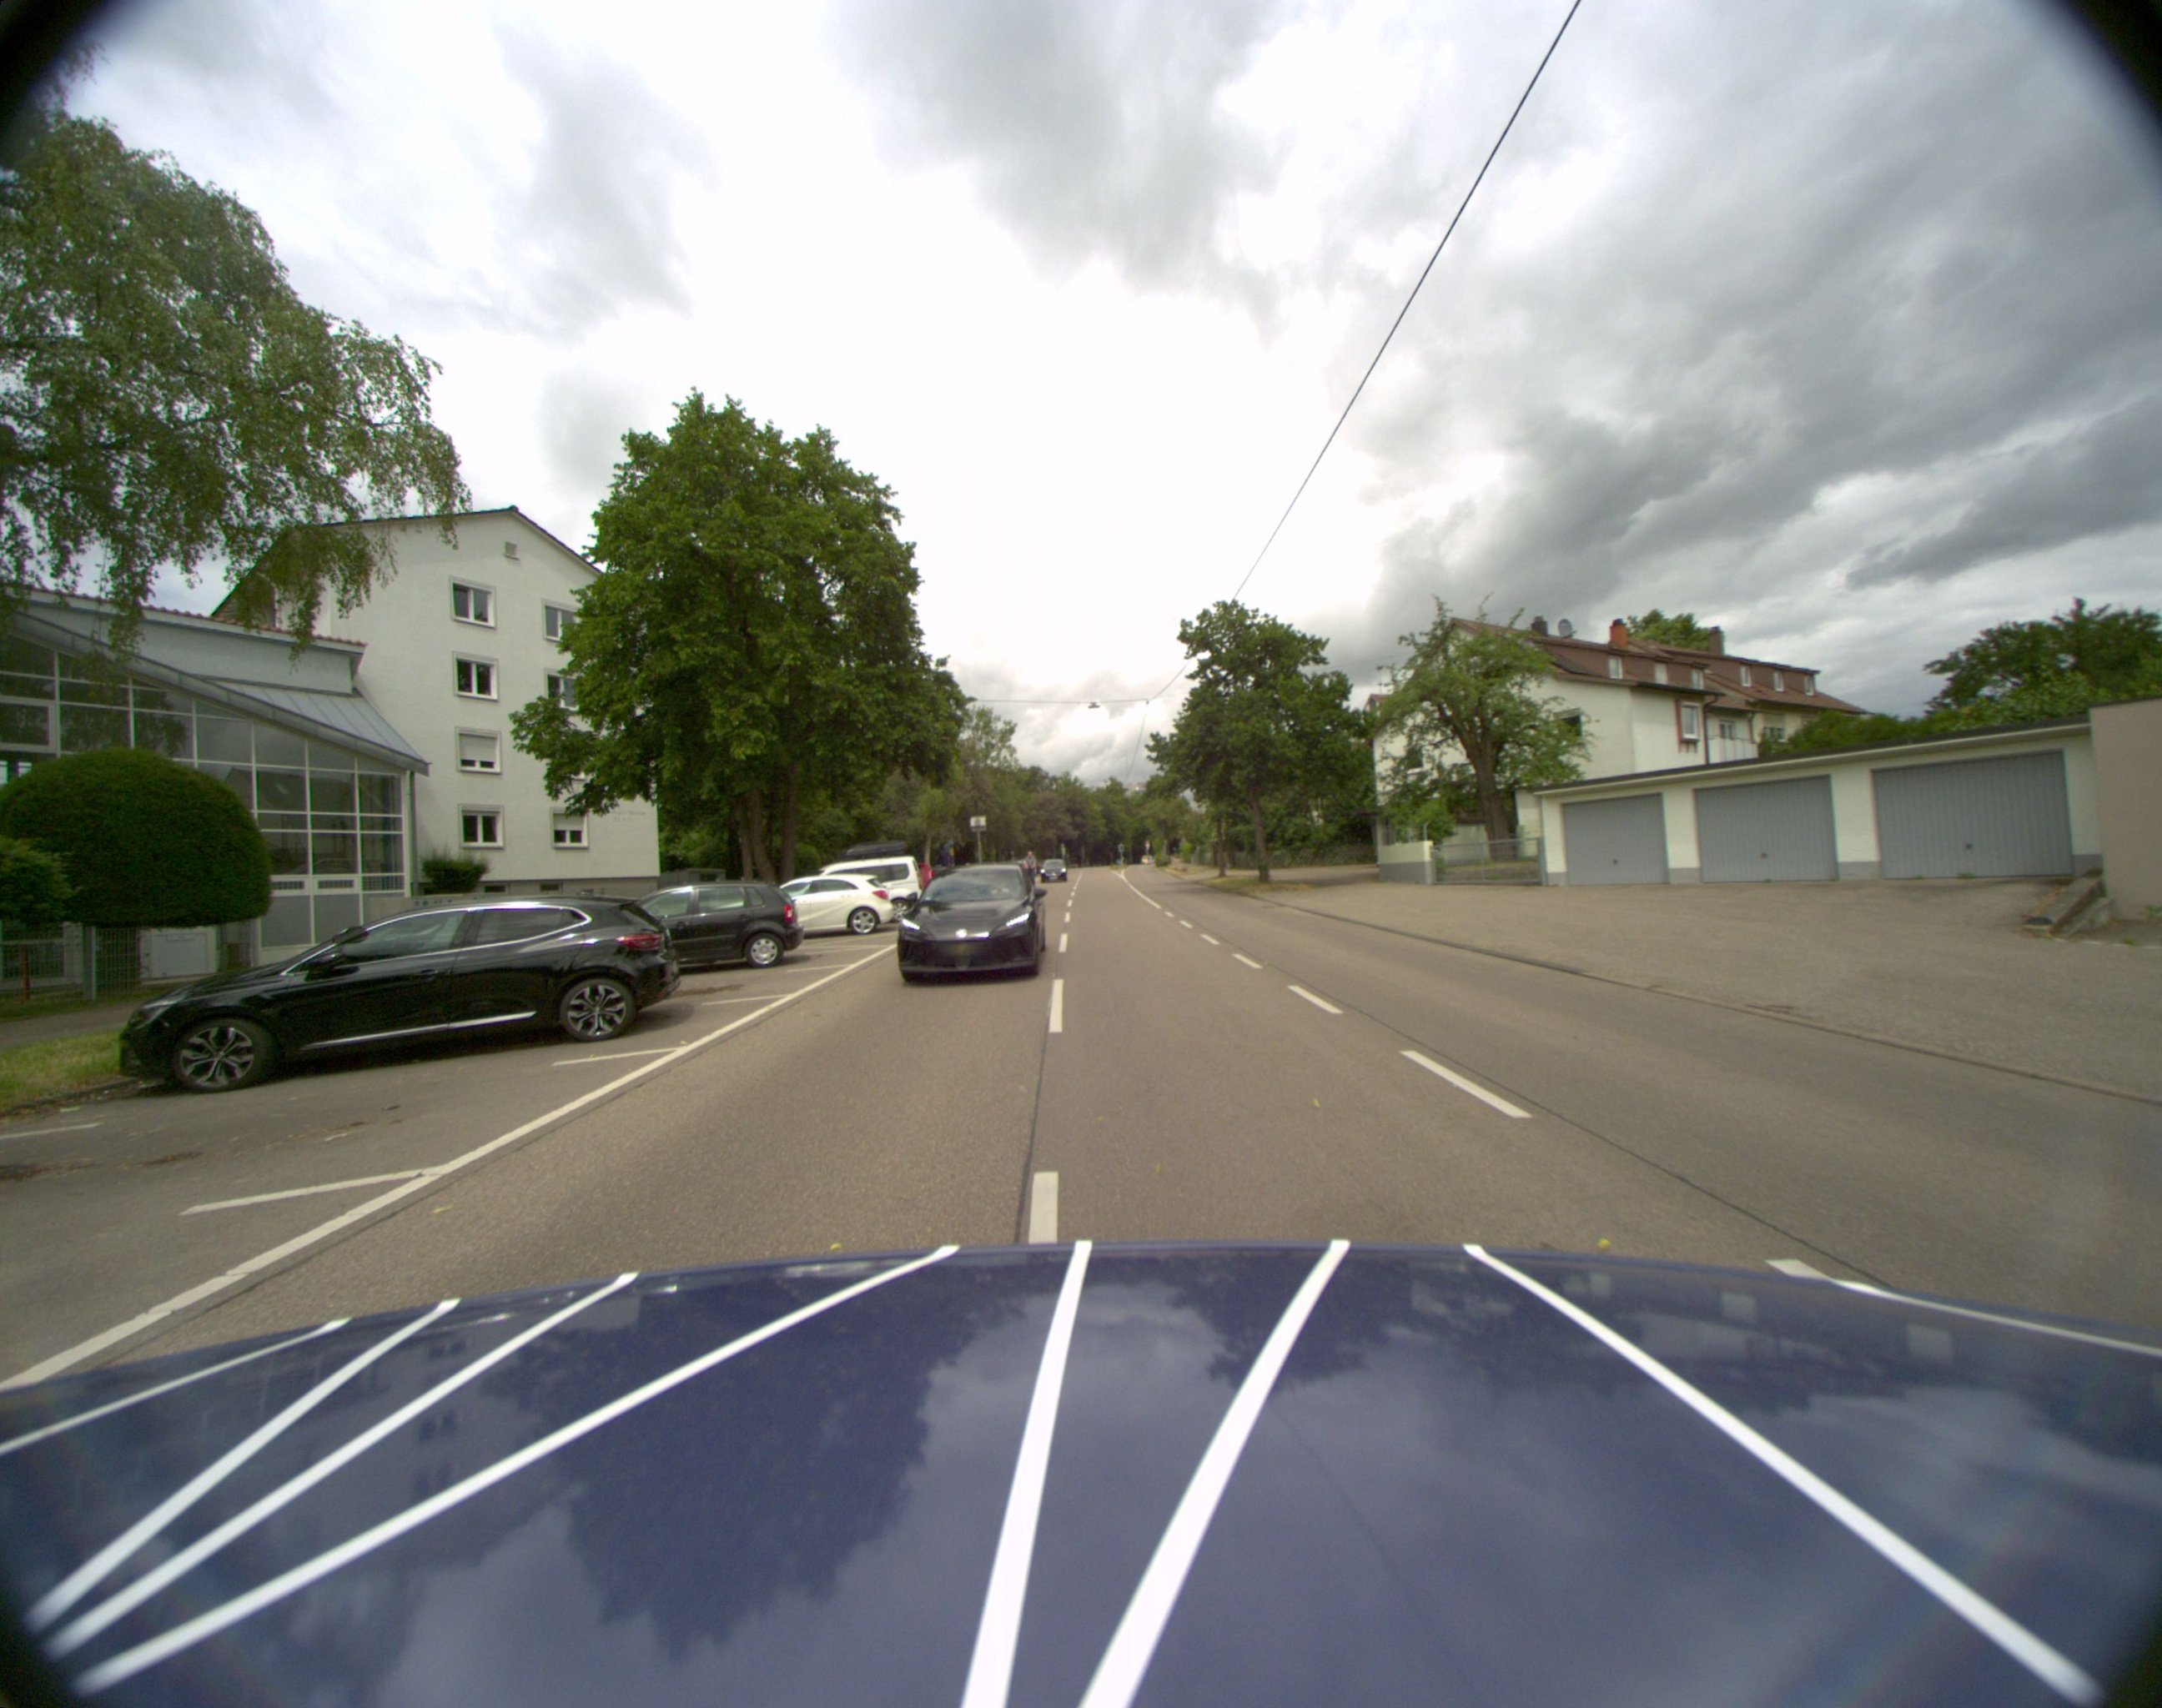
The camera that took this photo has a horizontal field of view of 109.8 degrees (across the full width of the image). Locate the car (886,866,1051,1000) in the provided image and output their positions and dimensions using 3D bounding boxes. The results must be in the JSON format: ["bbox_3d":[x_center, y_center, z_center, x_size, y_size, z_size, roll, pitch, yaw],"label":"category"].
[{"bbox_3d":[-1.444,0.993,11.153,1.813,1.484,3.793,-2,0,0],"label":"car"}]

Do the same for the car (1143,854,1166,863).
[{"bbox_3d":[13.709,0.811,142.399,4.006,1.401,1.796,-3,0,-35],"label":"car"}]

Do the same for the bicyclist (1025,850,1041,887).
[{"bbox_3d":[-2.408,0.720,37.864,0.648,1.768,0.627,-2,1,-11],"label":"bicyclist"}]

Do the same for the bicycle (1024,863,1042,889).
[{"bbox_3d":[-2.415,1.086,37.968,0.648,1.230,1.875,-3,0,-10],"label":"bicycle"}]

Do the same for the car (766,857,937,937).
[{"bbox_3d":[-6.318,1.106,20.939,4.226,1.748,1.856,-4,1,-24],"label":"car"}]

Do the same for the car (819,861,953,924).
[{"bbox_3d":[-6.115,1.167,24.026,3.859,1.634,1.851,-4,1,-14],"label":"car"}]

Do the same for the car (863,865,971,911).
[{"bbox_3d":[-6.304,1.282,29.197,3.859,1.426,1.653,-4,1,-14],"label":"car"}]

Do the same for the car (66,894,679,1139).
[{"bbox_3d":[-6.151,1.310,7.292,3.860,1.426,1.712,-4,3,-24],"label":"car"}]

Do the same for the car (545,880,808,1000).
[{"bbox_3d":[-6.424,1.309,12.530,3.516,1.455,1.713,-4,1,-20],"label":"car"}]

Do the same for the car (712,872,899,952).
[{"bbox_3d":[-6.288,1.293,17.806,3.859,1.430,1.714,-4,1,-14],"label":"car"}]

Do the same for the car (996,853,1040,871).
[{"bbox_3d":[-5.809,0.724,70.005,3.857,1.378,1.654,-4,1,-7],"label":"car"}]

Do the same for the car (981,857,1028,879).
[{"bbox_3d":[-6.572,1.189,65.147,3.857,1.553,1.654,-4,1,-7],"label":"car"}]

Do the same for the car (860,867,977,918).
[{"bbox_3d":[-5.730,1.329,26.845,3.859,1.426,1.653,-4,1,-14],"label":"car"}]

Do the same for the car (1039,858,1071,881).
[{"bbox_3d":[-1.698,1.011,50.540,1.861,1.366,4.076,-3,0,1],"label":"car"}]

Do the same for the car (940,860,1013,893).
[{"bbox_3d":[-6.103,1.274,44.311,3.860,1.603,1.652,-4,1,-19],"label":"car"}]

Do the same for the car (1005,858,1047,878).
[{"bbox_3d":[-5.339,1.347,73.678,3.857,1.634,1.654,-4,1,-7],"label":"car"}]

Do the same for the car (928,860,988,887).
[{"bbox_3d":[-8.661,1.366,53.521,3.860,1.549,1.652,-4,1,-19],"label":"car"}]
